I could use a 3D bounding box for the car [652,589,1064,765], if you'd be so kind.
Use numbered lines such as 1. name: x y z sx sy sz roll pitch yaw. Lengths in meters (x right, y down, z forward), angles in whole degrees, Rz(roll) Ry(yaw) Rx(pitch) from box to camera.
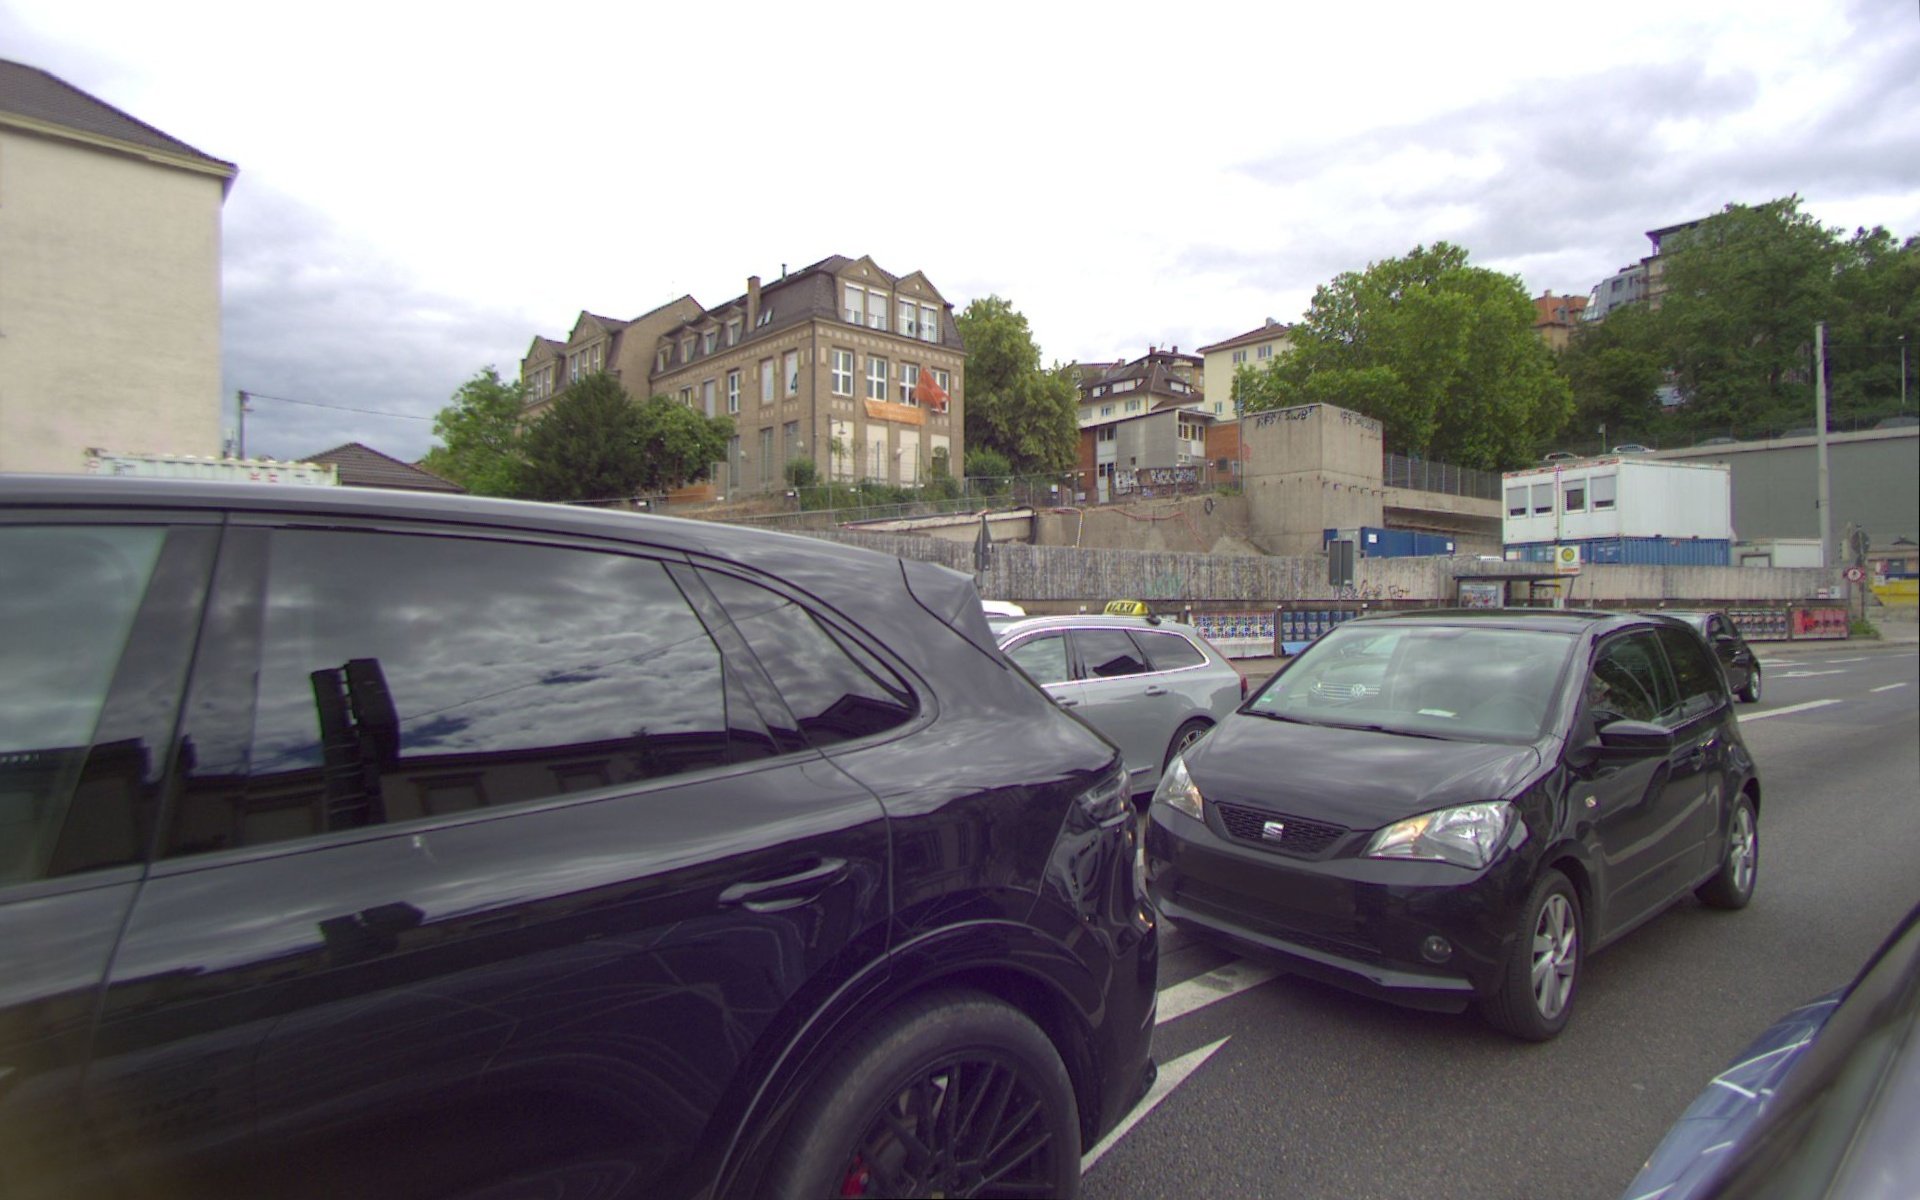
1. car: -0.938 0.635 10.601 4.004 1.484 1.824 -1 0 -42

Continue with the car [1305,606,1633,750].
1. car: 6.025 0.770 11.802 4.139 1.381 1.827 1 0 -38

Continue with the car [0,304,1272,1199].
1. car: -1.657 0.556 1.665 4.497 1.689 1.998 -1 0 -39

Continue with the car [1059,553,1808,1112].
1. car: 2.413 0.632 4.716 3.841 1.575 1.661 -1 0 -39

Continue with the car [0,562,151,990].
1. car: -5.061 0.638 3.455 3.581 1.529 1.826 -1 0 -39

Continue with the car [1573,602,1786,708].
1. car: 11.423 0.800 16.004 3.711 1.478 1.721 1 -2 -38

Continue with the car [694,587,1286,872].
1. car: 0.401 0.658 7.337 4.142 1.484 1.825 -1 0 -40
